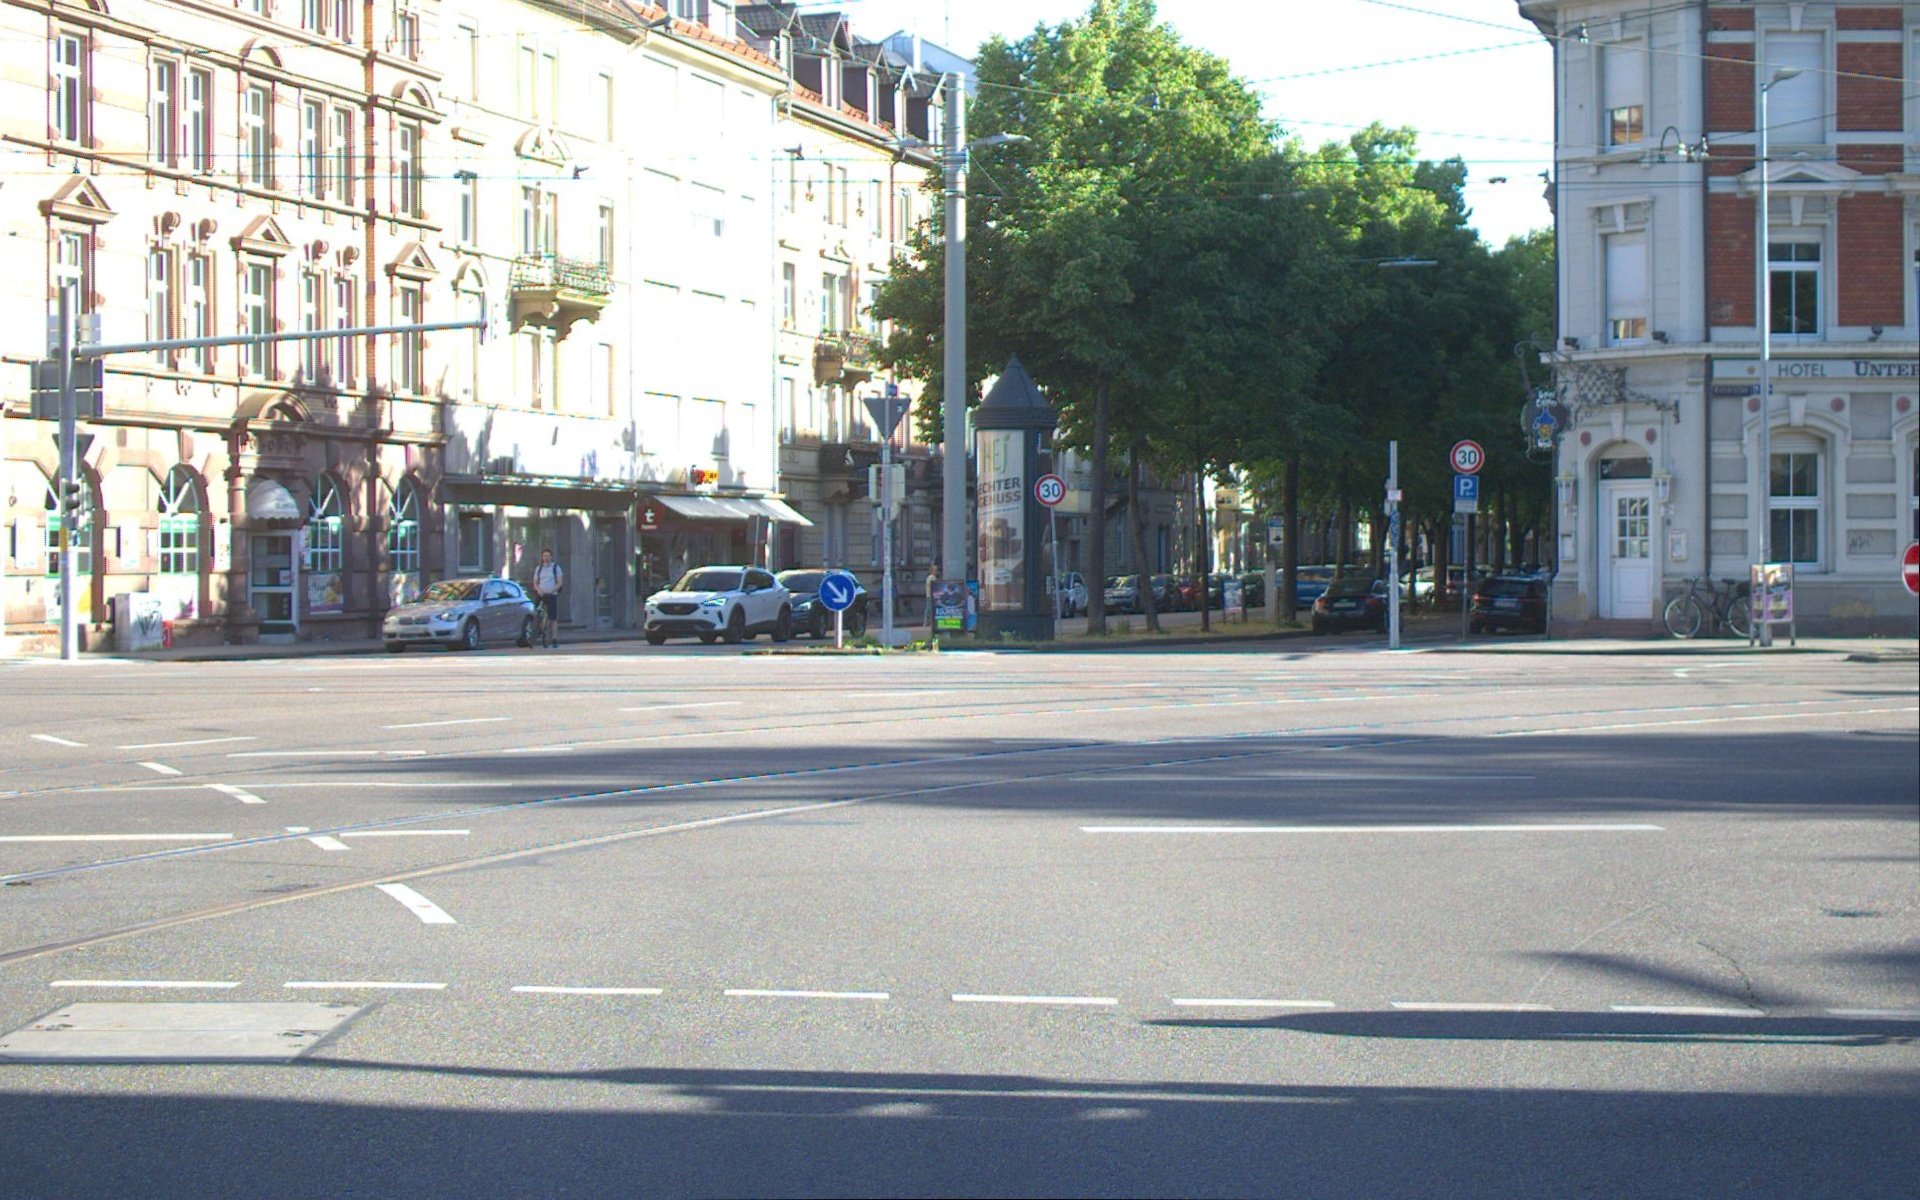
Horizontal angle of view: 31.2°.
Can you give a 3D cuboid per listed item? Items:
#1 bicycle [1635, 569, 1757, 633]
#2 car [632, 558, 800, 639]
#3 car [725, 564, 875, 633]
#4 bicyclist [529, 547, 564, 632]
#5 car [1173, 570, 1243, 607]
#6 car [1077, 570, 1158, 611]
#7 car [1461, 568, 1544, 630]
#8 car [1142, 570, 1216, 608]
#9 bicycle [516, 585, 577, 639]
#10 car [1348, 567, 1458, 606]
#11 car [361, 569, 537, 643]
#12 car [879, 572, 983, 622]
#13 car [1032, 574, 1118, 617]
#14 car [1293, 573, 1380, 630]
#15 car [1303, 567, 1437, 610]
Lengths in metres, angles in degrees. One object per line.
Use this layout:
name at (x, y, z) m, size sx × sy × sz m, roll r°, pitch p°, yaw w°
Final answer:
bicycle at (12.273, 0.020, 57.347) m, size 1.953 × 1.050 × 0.715 m, roll 0°, pitch 1°, yaw 10°
car at (-4.749, -0.056, 67.475) m, size 1.995 × 1.511 × 4.166 m, roll 0°, pitch 1°, yaw 16°
car at (-3.396, -0.044, 73.648) m, size 1.995 × 1.400 × 4.166 m, roll 0°, pitch 1°, yaw 16°
bicyclist at (-7.837, -0.204, 65.198) m, size 0.489 × 1.596 × 0.666 m, roll 0°, pitch 1°, yaw 10°
car at (9.881, -0.459, 136.609) m, size 1.995 × 1.400 × 4.166 m, roll 0°, pitch 1°, yaw 16°
car at (5.652, -0.348, 122.584) m, size 1.995 × 1.400 × 4.166 m, roll 0°, pitch 1°, yaw 16°
car at (13.049, -0.032, 82.534) m, size 1.756 × 1.415 × 3.998 m, roll 0°, pitch 1°, yaw 12°
car at (8.405, -0.427, 131.412) m, size 1.995 × 1.400 × 4.166 m, roll 0°, pitch 1°, yaw 16°
bicycle at (-7.845, 0.230, 65.305) m, size 0.655 × 0.997 × 1.664 m, roll 1°, pitch 1°, yaw 12°
car at (14.363, -0.439, 111.471) m, size 3.435 × 1.235 × 1.576 m, roll 0°, pitch 1°, yaw 11°
car at (-9.925, 0.100, 67.048) m, size 1.995 × 1.357 × 3.816 m, roll 0°, pitch 1°, yaw 16°
car at (-0.842, -0.098, 102.095) m, size 1.995 × 1.400 × 4.166 m, roll 0°, pitch 1°, yaw 16°
car at (3.940, -0.158, 116.865) m, size 1.995 × 1.400 × 4.166 m, roll 0°, pitch 1°, yaw 16°
car at (9.115, 0.029, 82.929) m, size 1.718 × 1.296 × 4.071 m, roll 0°, pitch 1°, yaw 12°
car at (12.578, -0.357, 105.398) m, size 3.989 × 1.284 × 1.694 m, roll 0°, pitch 1°, yaw 11°
